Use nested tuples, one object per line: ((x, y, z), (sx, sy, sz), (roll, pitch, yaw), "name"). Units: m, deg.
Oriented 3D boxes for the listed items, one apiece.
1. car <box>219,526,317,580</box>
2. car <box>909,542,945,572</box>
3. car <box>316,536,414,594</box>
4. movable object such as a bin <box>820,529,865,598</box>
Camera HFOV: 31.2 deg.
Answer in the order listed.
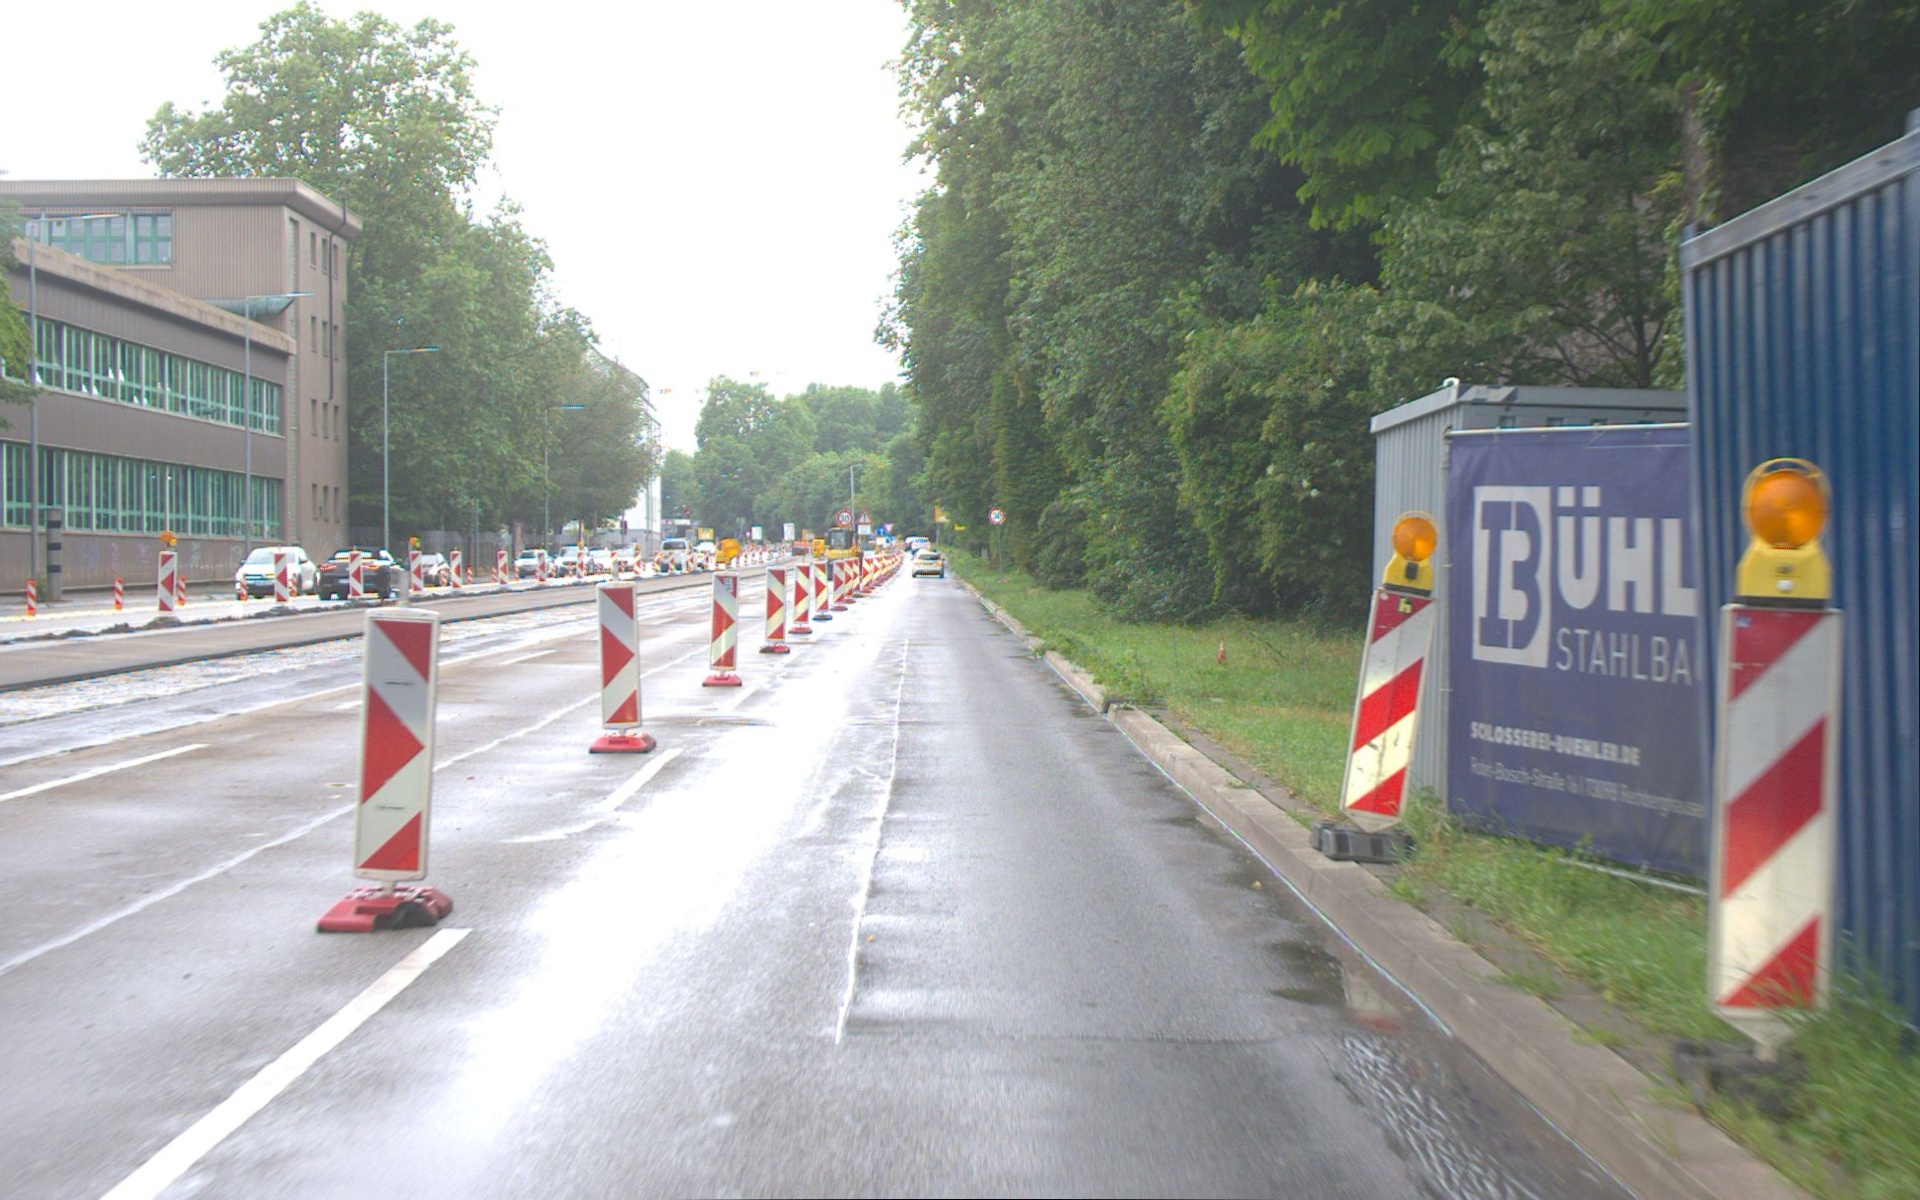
((-20.010, -1.369, 99.551), (1.993, 1.508, 4.266), (0, 1, 0), "car")
((-1.870, -2.434, 195.271), (1.993, 1.667, 4.000), (1, 1, 0), "car")
((-16.029, -0.941, 92.748), (1.993, 1.514, 4.000), (1, 1, -1), "car")
((-5.821, -1.823, 170.813), (1.993, 3.356, 5.982), (1, 1, 0), "movable object such as a bin")
